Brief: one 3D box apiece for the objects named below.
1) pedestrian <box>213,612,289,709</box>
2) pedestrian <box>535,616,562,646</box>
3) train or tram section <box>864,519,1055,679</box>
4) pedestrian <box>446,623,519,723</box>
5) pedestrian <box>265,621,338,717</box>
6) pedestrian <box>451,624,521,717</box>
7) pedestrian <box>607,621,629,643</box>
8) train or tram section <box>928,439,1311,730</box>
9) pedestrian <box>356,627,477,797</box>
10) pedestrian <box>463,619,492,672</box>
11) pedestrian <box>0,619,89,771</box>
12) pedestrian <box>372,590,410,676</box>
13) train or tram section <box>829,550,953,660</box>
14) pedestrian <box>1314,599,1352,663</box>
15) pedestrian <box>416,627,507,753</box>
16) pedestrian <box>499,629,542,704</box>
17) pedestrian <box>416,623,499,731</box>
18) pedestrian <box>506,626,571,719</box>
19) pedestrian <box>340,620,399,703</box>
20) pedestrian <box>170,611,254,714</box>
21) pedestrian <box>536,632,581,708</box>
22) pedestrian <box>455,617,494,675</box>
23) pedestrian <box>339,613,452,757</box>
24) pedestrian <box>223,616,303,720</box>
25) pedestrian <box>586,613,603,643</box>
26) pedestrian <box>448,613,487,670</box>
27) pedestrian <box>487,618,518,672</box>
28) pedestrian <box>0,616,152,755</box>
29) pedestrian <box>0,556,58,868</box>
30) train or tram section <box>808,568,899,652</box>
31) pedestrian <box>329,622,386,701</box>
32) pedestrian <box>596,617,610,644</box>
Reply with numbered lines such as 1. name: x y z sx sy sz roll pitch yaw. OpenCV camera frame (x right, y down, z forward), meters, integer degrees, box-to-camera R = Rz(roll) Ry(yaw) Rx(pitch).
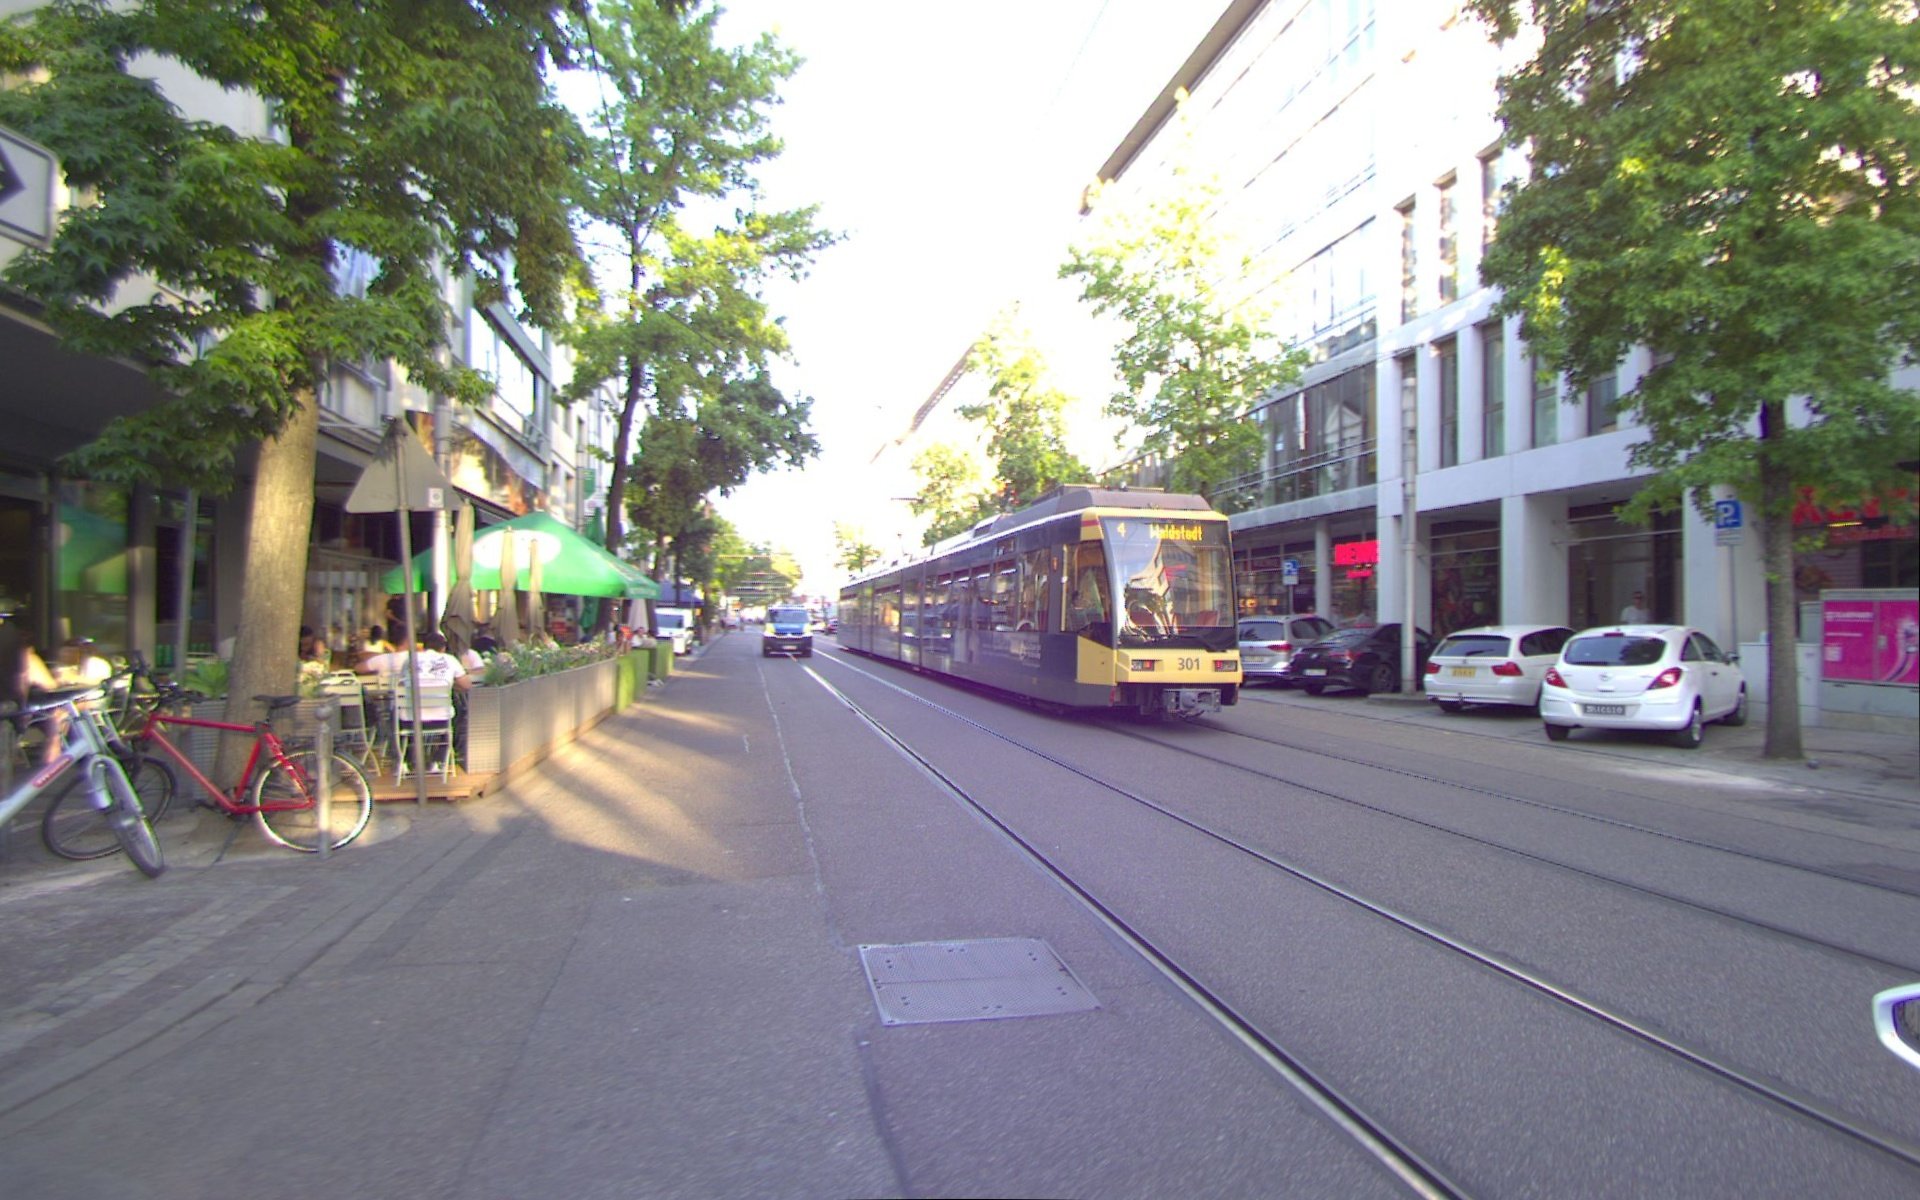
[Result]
1. pedestrian: -10.508 0.888 14.915 0.645 1.396 0.764 1 -2 -12
2. pedestrian: -15.975 1.195 39.003 0.767 1.109 0.727 3 -2 -13
3. train or tram section: -0.460 0.111 27.810 2.966 3.570 10.375 1 -1 -13
4. pedestrian: -6.860 1.033 14.465 0.705 1.380 0.923 1 -1 -11
5. pedestrian: -9.864 1.026 15.064 0.645 1.396 0.764 1 -2 -12
6. pedestrian: -7.294 1.066 15.500 0.705 1.380 1.010 1 -1 -11
7. pedestrian: -17.807 1.666 52.326 0.808 1.135 0.778 3 -2 -3
8. train or tram section: 1.918 -0.059 17.727 2.975 3.570 10.344 0 -1 -13
9. pedestrian: -4.679 0.933 8.692 0.683 1.395 0.791 1 -1 -11
10. pedestrian: -12.713 1.198 26.475 0.530 1.396 0.677 1 -2 -12
11. pedestrian: -8.814 0.846 9.214 0.872 1.337 0.880 1 -2 -10
12. pedestrian: -12.100 0.699 21.345 0.649 1.789 0.759 1 -2 -31
13. train or tram section: -2.904 0.298 38.135 2.962 3.570 10.817 0 -1 -13
14. pedestrian: 10.677 0.880 28.798 0.670 1.795 0.803 1 0 -13
15. pedestrian: -5.706 1.004 11.540 0.705 1.380 0.870 1 -1 -11
16. pedestrian: -7.338 1.103 16.770 0.535 1.234 0.510 1 -1 -11
17. pedestrian: -6.686 0.997 13.414 0.705 1.380 1.010 1 -1 -11
18. pedestrian: -6.517 1.098 15.574 0.705 1.380 1.010 1 -1 -11
19. pedestrian: -10.201 1.048 17.374 0.645 1.396 0.764 1 -2 -12
20. pedestrian: -10.419 0.862 14.014 0.645 1.396 0.764 1 -2 -12
21. pedestrian: -6.744 1.173 16.885 0.577 1.252 0.543 1 -1 -11
22. pedestrian: -11.540 1.083 23.888 0.645 1.348 0.764 1 -2 -12
23. pedestrian: -5.697 0.833 10.191 0.705 1.380 0.923 1 -1 -11
24. pedestrian: -9.705 0.933 14.015 0.645 1.396 0.764 1 -2 -12
25. pedestrian: -18.101 1.379 49.776 0.601 1.452 0.510 3 -2 -10
26. pedestrian: -12.331 1.035 25.177 0.680 1.396 0.764 1 -2 -12
27. pedestrian: -12.073 1.194 26.538 0.596 1.396 0.647 1 -2 -12
28. pedestrian: -8.966 0.847 10.191 0.835 1.337 0.880 1 -2 -9
29. pedestrian: -5.788 0.633 5.749 0.631 1.764 0.779 -1 -2 35
30. train or tram section: -5.361 0.564 48.511 3.002 3.570 10.504 1 -2 -13
31. pedestrian: -10.933 1.113 18.243 0.645 1.396 0.764 1 -2 -12
32. pedestrian: -17.170 1.476 48.326 0.504 1.258 0.659 3 -2 -12
